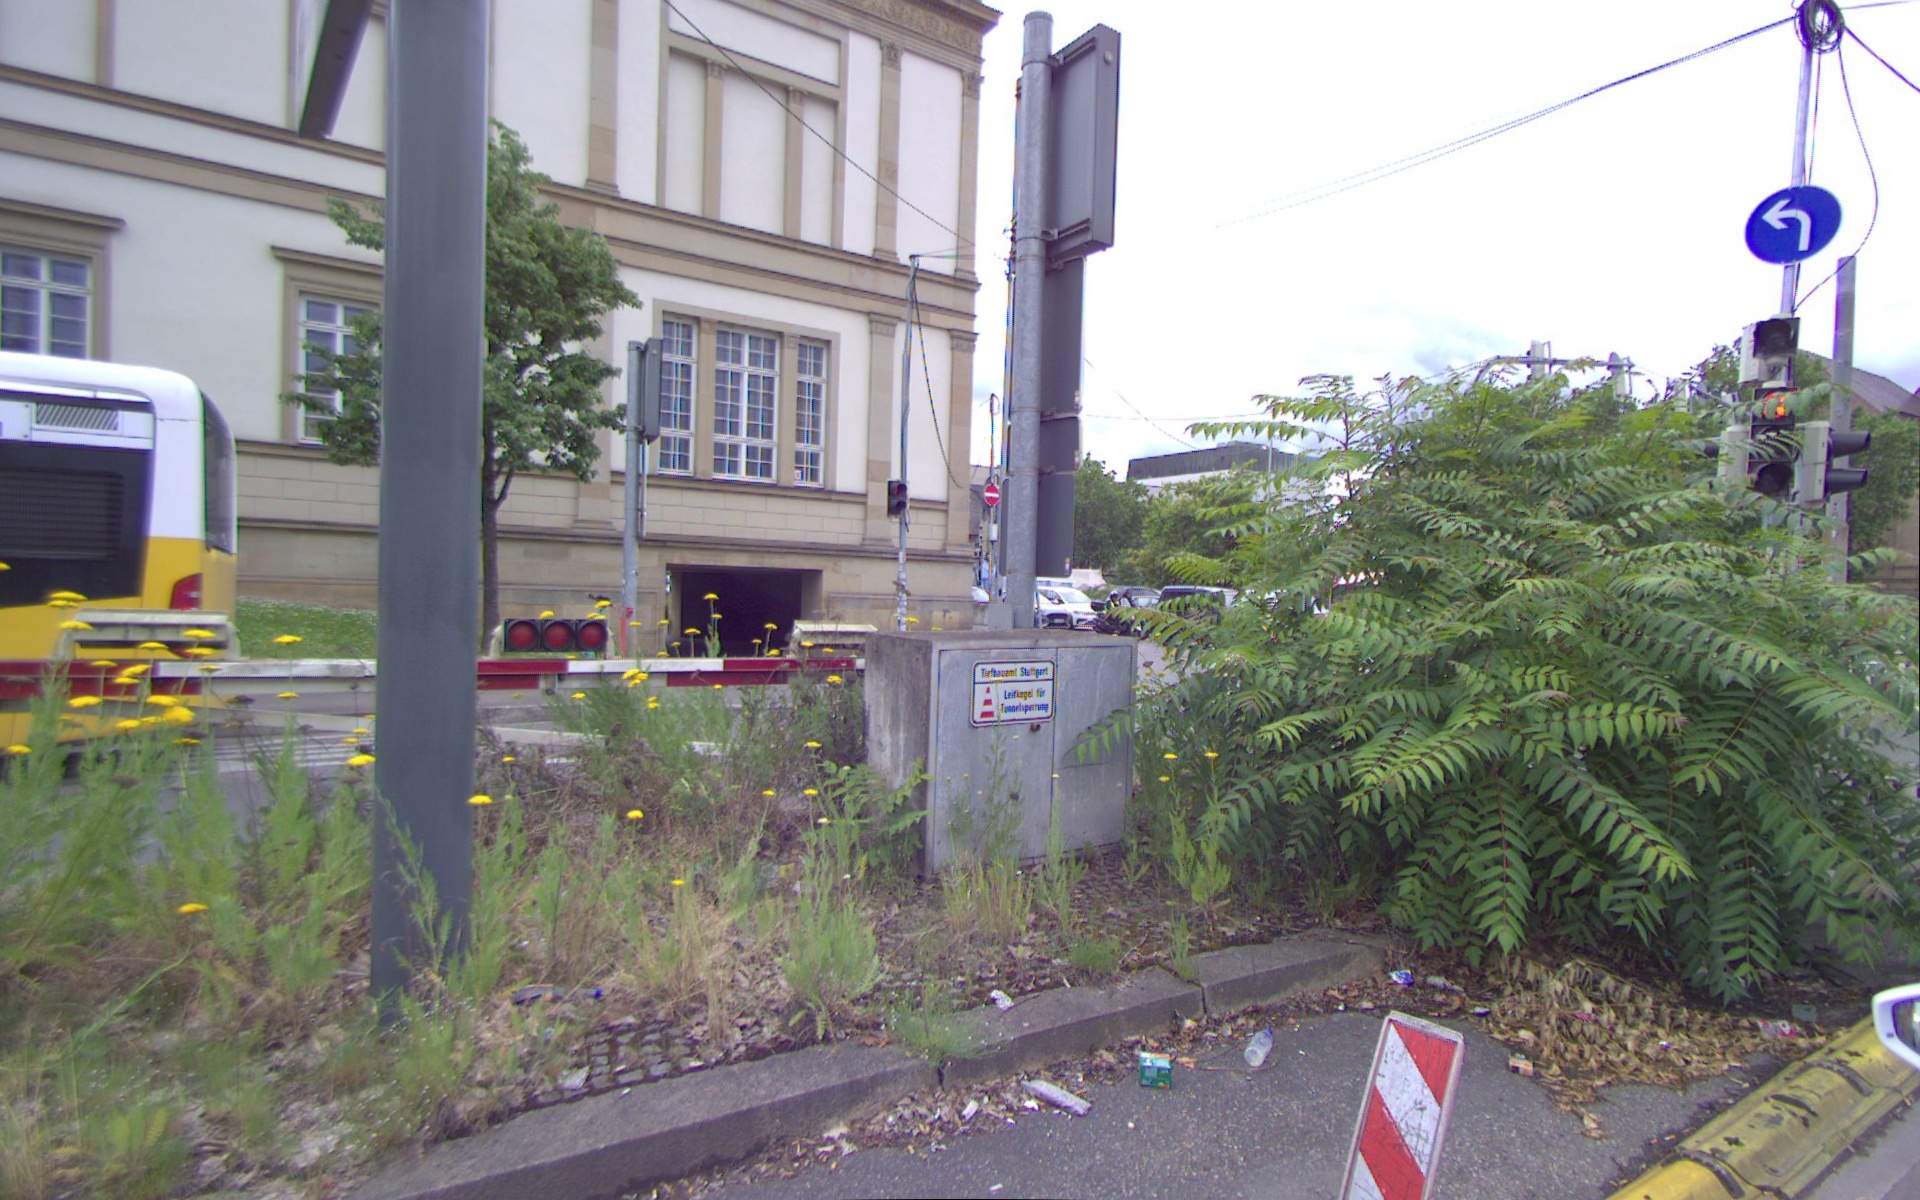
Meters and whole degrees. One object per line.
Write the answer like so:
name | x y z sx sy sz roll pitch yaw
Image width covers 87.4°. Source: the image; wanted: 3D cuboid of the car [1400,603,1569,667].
car | 16.577 1.057 31.833 4.436 1.783 1.991 1 0 39

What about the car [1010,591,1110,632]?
car | 3.999 0.440 40.715 1.977 1.568 4.086 2 0 -31

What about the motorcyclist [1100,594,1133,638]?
motorcyclist | 5.072 0.533 32.597 0.690 1.398 0.784 2 -1 -33

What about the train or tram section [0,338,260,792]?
train or tram section | -10.149 -0.283 6.278 9.229 3.112 2.680 1 -1 -31

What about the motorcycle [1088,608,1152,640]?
motorcycle | 5.150 0.764 32.502 0.690 0.953 2.335 2 -1 -32

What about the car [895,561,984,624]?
car | -0.945 -0.334 43.742 1.978 2.585 4.083 2 0 -32

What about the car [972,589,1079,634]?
car | 2.382 0.398 37.580 1.978 1.568 4.083 2 0 -32

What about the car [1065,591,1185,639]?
car | 5.755 0.492 35.504 1.978 1.568 4.084 2 0 -32
